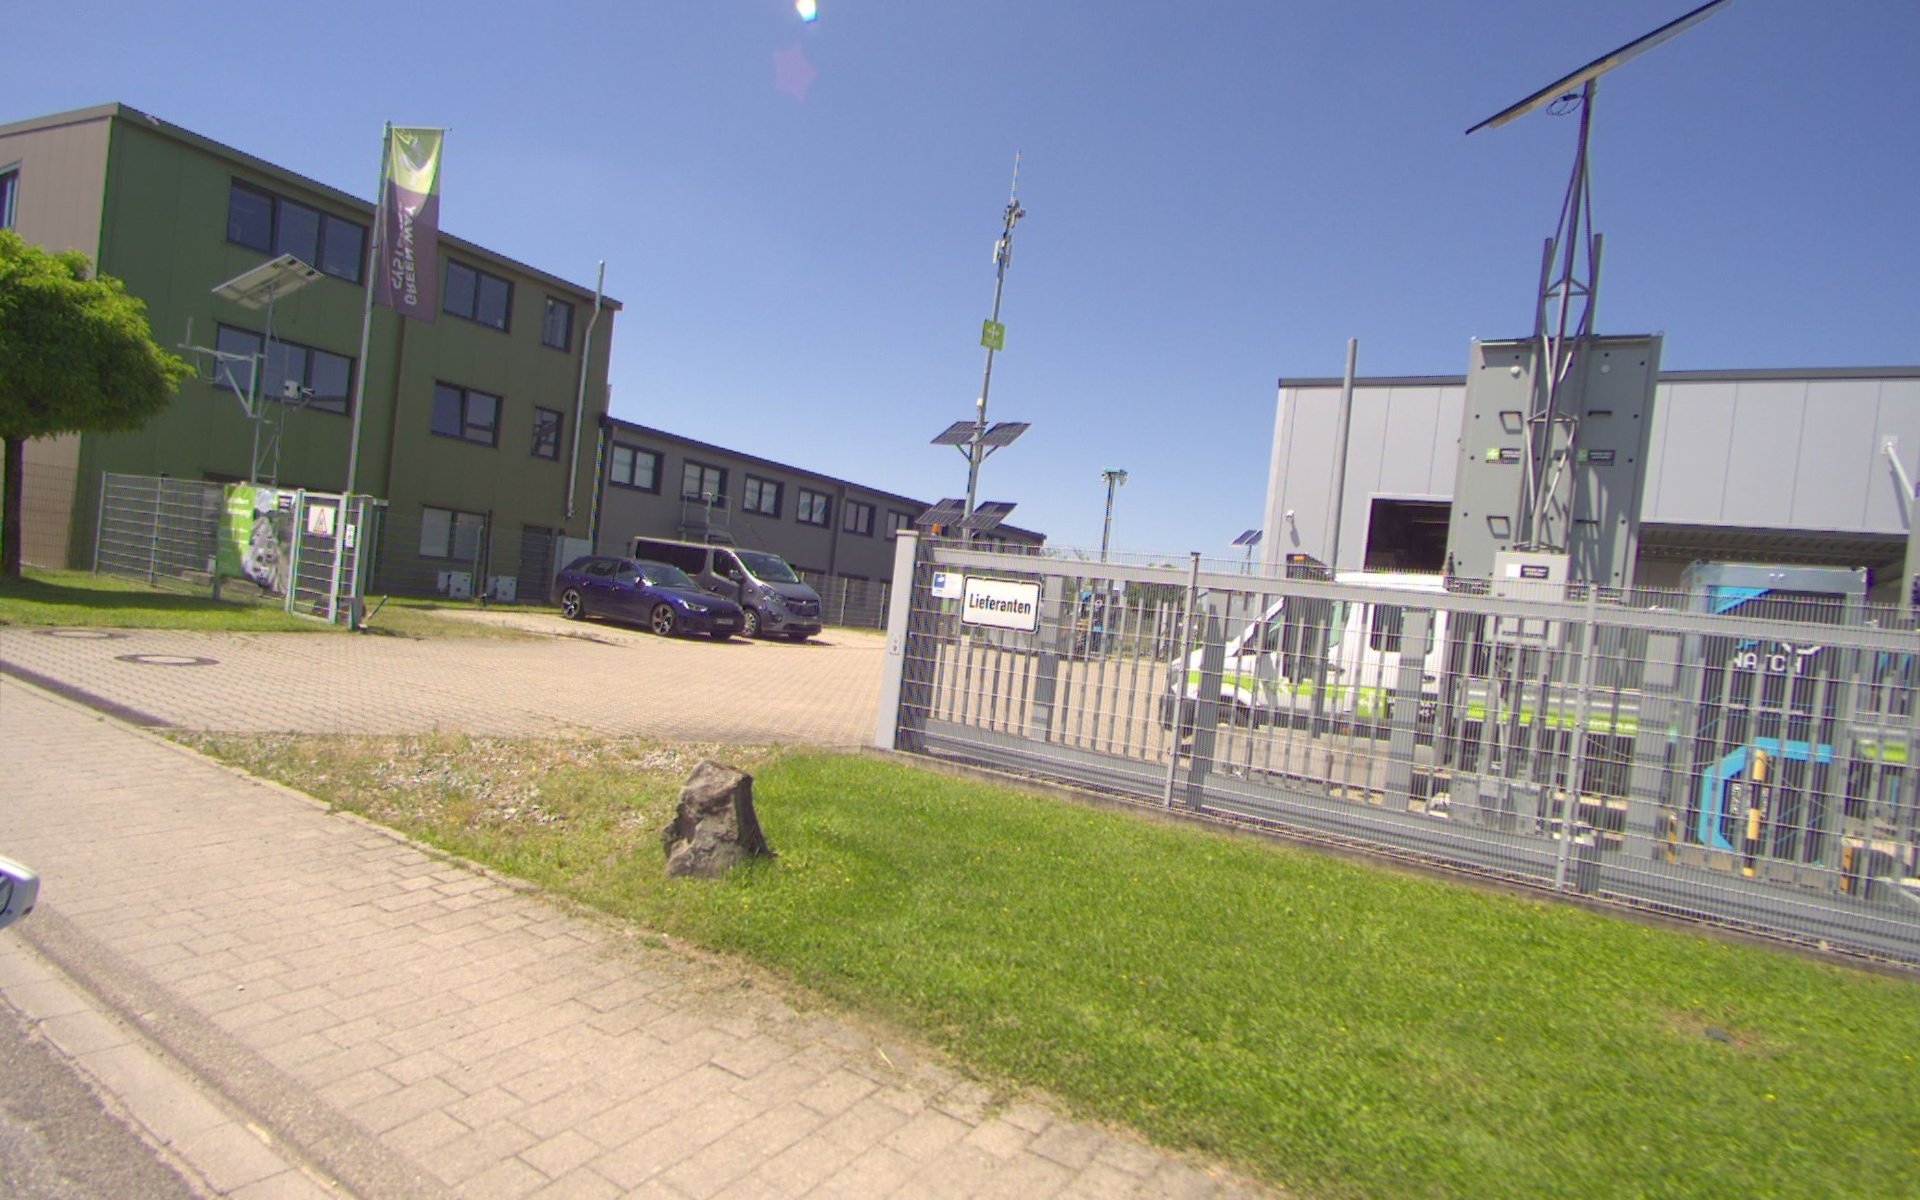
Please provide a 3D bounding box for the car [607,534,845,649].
[{"bbox_3d":[-5.626,-0.234,23.844,5.561,2.021,1.995,7,1,32],"label":"car"}]

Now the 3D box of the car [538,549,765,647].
[{"bbox_3d":[-6.545,-0.067,21.219,4.535,1.456,1.995,7,1,32],"label":"car"}]

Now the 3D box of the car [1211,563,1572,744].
[{"bbox_3d":[7.966,0.857,18.856,5.764,2.527,2.129,7,2,32],"label":"car"}]

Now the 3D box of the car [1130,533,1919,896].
[{"bbox_3d":[5.581,0.845,10.855,6.909,2.527,2.129,7,2,32],"label":"car"}]

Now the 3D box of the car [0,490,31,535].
[{"bbox_3d":[-34.399,-3.202,35.243,3.934,1.462,1.657,6,0,32],"label":"car"}]
